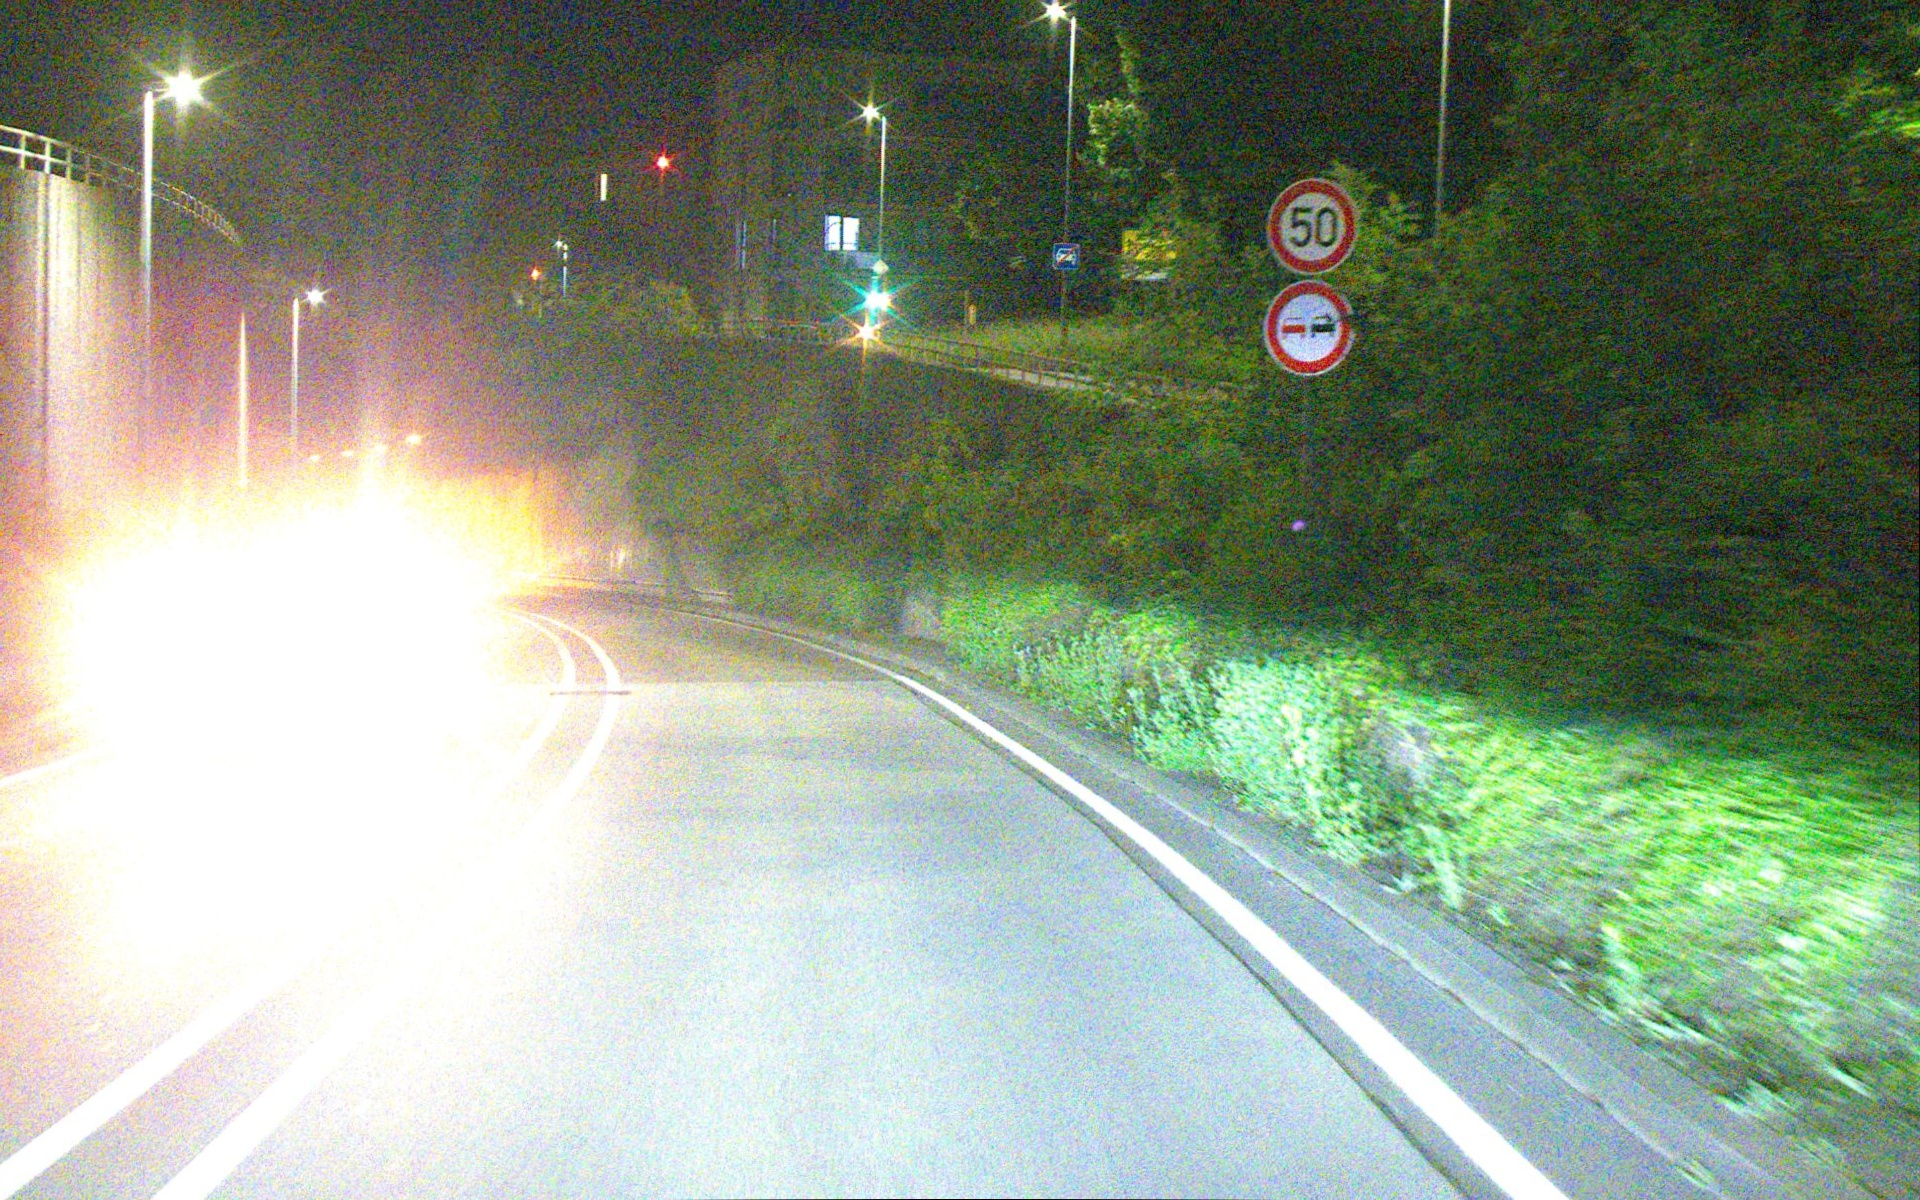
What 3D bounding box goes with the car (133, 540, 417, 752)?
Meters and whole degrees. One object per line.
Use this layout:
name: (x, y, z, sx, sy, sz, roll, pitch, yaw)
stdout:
car: (-5.191, 0.302, 26.482, 1.858, 1.505, 4.001, 0, 1, -7)
